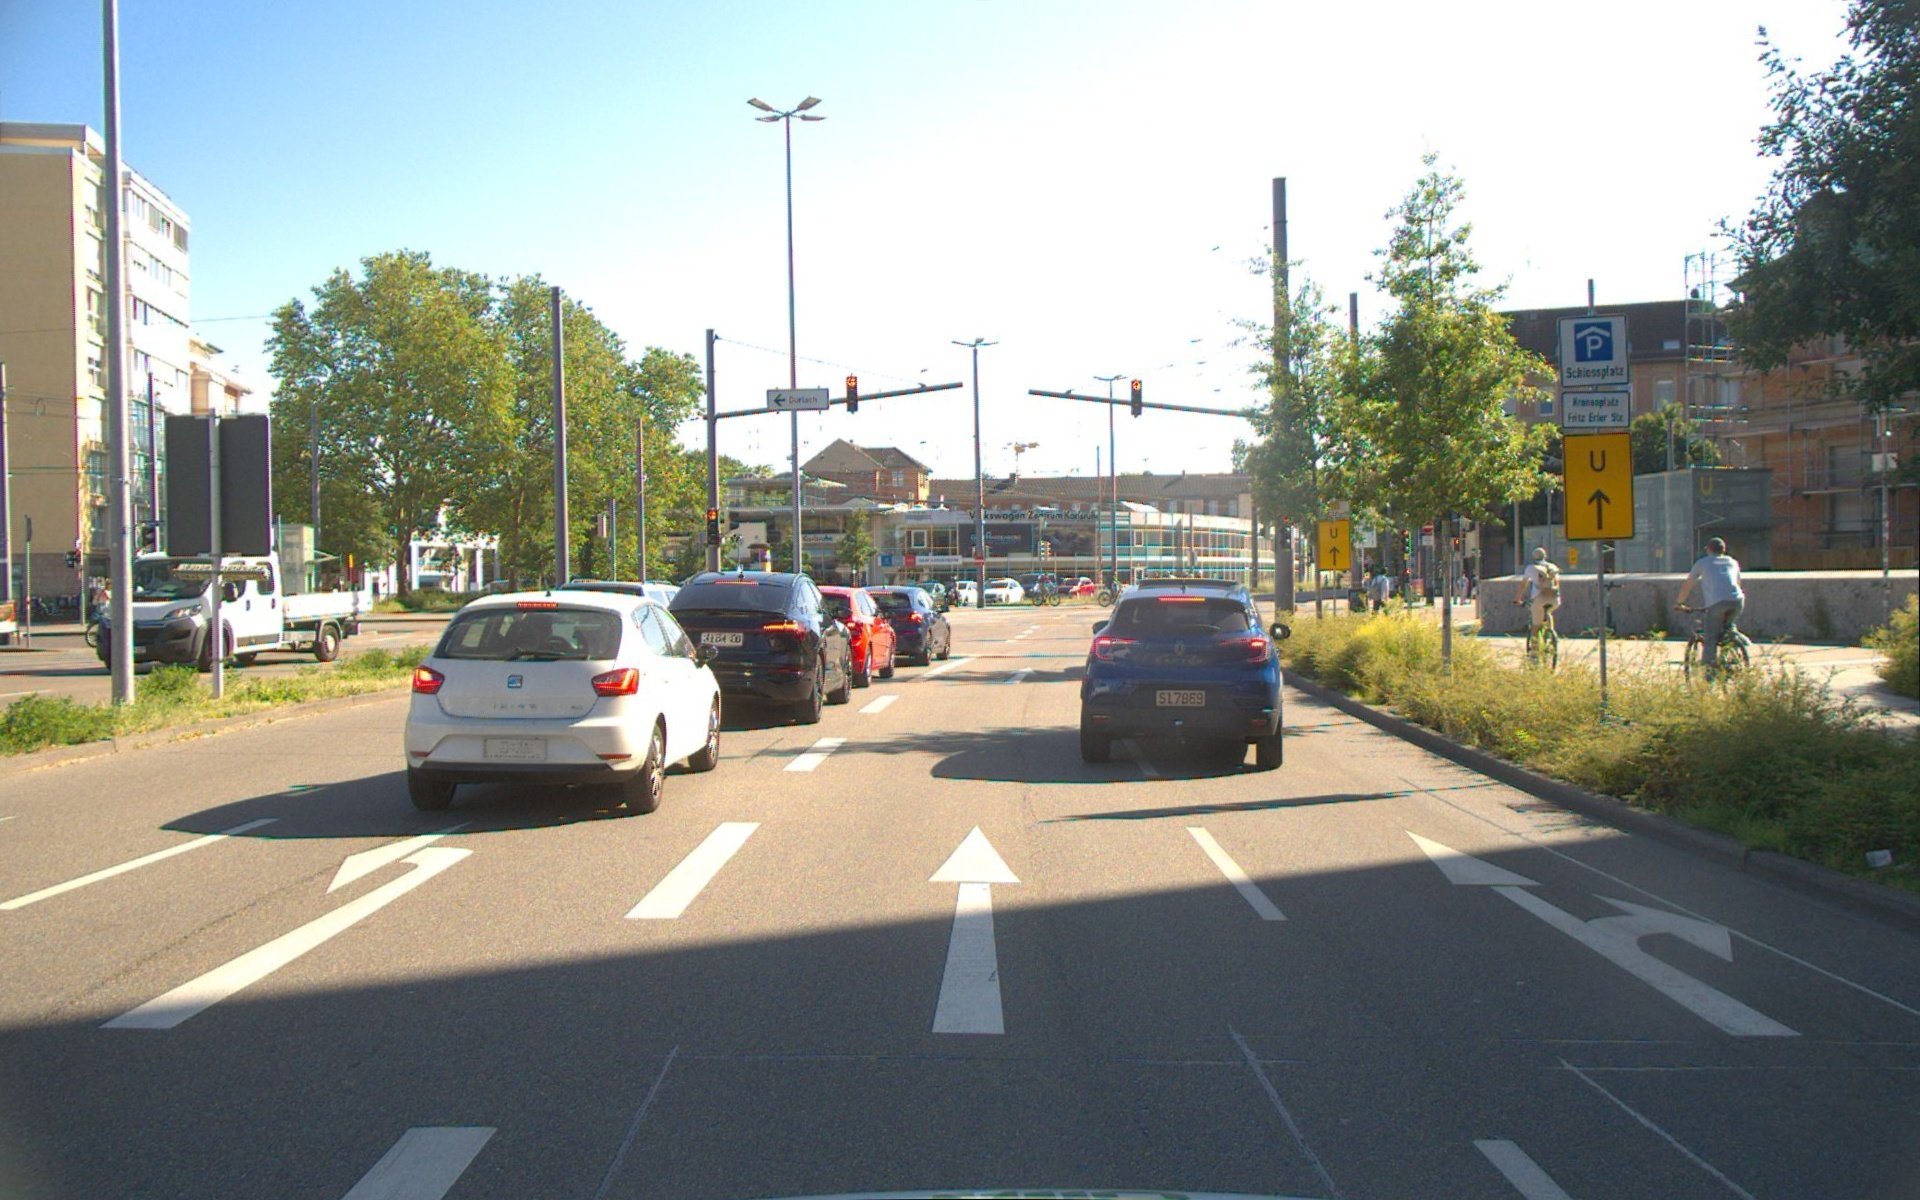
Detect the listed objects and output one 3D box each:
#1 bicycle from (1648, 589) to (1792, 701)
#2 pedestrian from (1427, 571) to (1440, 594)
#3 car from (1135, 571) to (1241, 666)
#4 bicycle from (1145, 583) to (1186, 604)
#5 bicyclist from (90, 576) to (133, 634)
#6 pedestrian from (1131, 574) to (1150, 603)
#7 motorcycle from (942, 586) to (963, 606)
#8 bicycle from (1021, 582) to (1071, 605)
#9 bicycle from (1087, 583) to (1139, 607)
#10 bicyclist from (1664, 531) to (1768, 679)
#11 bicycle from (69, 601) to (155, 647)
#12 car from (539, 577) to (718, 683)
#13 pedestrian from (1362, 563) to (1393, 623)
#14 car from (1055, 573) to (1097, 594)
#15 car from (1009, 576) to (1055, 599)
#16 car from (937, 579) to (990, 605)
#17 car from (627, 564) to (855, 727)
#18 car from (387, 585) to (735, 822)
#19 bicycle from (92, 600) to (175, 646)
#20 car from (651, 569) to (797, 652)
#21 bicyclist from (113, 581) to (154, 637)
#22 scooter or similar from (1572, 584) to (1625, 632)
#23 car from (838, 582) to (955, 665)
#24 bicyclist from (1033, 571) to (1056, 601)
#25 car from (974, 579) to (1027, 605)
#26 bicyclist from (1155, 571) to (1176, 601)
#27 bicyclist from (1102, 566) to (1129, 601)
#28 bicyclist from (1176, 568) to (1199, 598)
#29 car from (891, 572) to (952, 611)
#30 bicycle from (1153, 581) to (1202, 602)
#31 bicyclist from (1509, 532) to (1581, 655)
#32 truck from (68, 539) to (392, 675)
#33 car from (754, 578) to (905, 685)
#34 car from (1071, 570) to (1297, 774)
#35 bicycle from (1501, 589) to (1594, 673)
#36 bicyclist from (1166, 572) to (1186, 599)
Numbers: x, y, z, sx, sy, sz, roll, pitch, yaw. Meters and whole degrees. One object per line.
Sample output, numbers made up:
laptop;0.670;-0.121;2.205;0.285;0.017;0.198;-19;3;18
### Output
bicycle;8.689;0.484;19.001;0.702;1.185;1.869;-1;1;-3
pedestrian;31.024;-1.157;108.430;0.586;1.434;0.800;0;3;0
car;4.280;0.317;31.083;1.837;1.646;3.628;1;0;8
bicycle;11.328;-0.362;91.293;2.139;1.114;0.757;-1;0;-11
bicyclist;-21.989;0.127;42.872;0.758;1.469;0.643;0;0;4
pedestrian;10.212;-0.657;93.723;0.844;1.638;0.693;-2;3;-42
motorcycle;-0.417;-0.251;92.966;0.550;1.113;1.836;0;0;19
bicycle;4.757;-0.364;91.128;2.600;1.209;0.945;-1;3;-12
bicycle;8.112;-0.273;87.917;2.607;1.209;0.942;-1;3;-20
bicyclist;8.683;0.046;19.029;0.705;1.645;0.977;-1;1;-4
bicycle;-21.976;0.622;42.869;1.910;1.185;0.643;0;0;3
car;-4.911;0.399;25.019;1.689;1.467;3.801;0;1;4
pedestrian;12.434;-0.201;49.227;0.584;1.753;0.867;-1;-2;37
car;8.343;-1.165;118.229;1.690;1.467;4.183;2;1;23
car;4.876;-0.863;111.616;1.690;1.467;4.183;2;1;23
car;0.224;-0.496;100.051;1.690;1.467;4.183;0;1;23
car;-2.393;0.445;19.228;1.943;1.652;4.379;1;1;2
car;-2.751;0.630;12.215;1.656;1.461;3.737;1;1;0
bicycle;-21.920;0.605;43.872;1.910;1.185;0.643;0;0;3
car;-4.511;0.176;32.209;1.688;1.467;3.913;2;1;9
bicyclist;-21.913;0.245;43.869;0.758;1.469;0.643;0;0;3
scooter or similar;14.686;0.184;38.073;0.459;1.030;1.244;-1;3;-16
car;-1.162;0.401;31.887;1.688;1.467;3.801;2;1;6
bicyclist;4.665;-0.797;91.092;1.044;1.611;0.945;-1;3;-12
car;2.401;-0.498;97.567;1.690;1.467;4.183;0;1;23
bicyclist;11.323;-0.774;91.284;0.968;1.632;0.757;-1;0;-11
bicyclist;8.257;-0.863;87.959;1.166;1.807;0.942;-1;3;-20
bicyclist;12.730;-0.946;92.542;1.044;1.611;0.945;-1;3;-12
car;-2.175;-0.506;93.858;1.953;2.048;3.999;1;3;24
bicycle;11.873;-0.457;90.322;2.589;1.114;0.969;-1;0;0
bicyclist;8.779;-0.106;24.858;0.705;1.793;0.977;-1;1;-1
truck;-13.852;0.089;32.082;2.167;2.354;6.890;0;1;11
car;-1.929;0.427;25.419;1.636;1.467;3.724;2;1;6
car;2.197;0.560;15.658;1.836;1.645;3.801;1;1;10
bicycle;8.796;0.437;24.826;0.730;1.185;1.870;-1;1;0
bicyclist;11.808;-0.782;90.318;0.942;1.474;0.969;-1;0;0
